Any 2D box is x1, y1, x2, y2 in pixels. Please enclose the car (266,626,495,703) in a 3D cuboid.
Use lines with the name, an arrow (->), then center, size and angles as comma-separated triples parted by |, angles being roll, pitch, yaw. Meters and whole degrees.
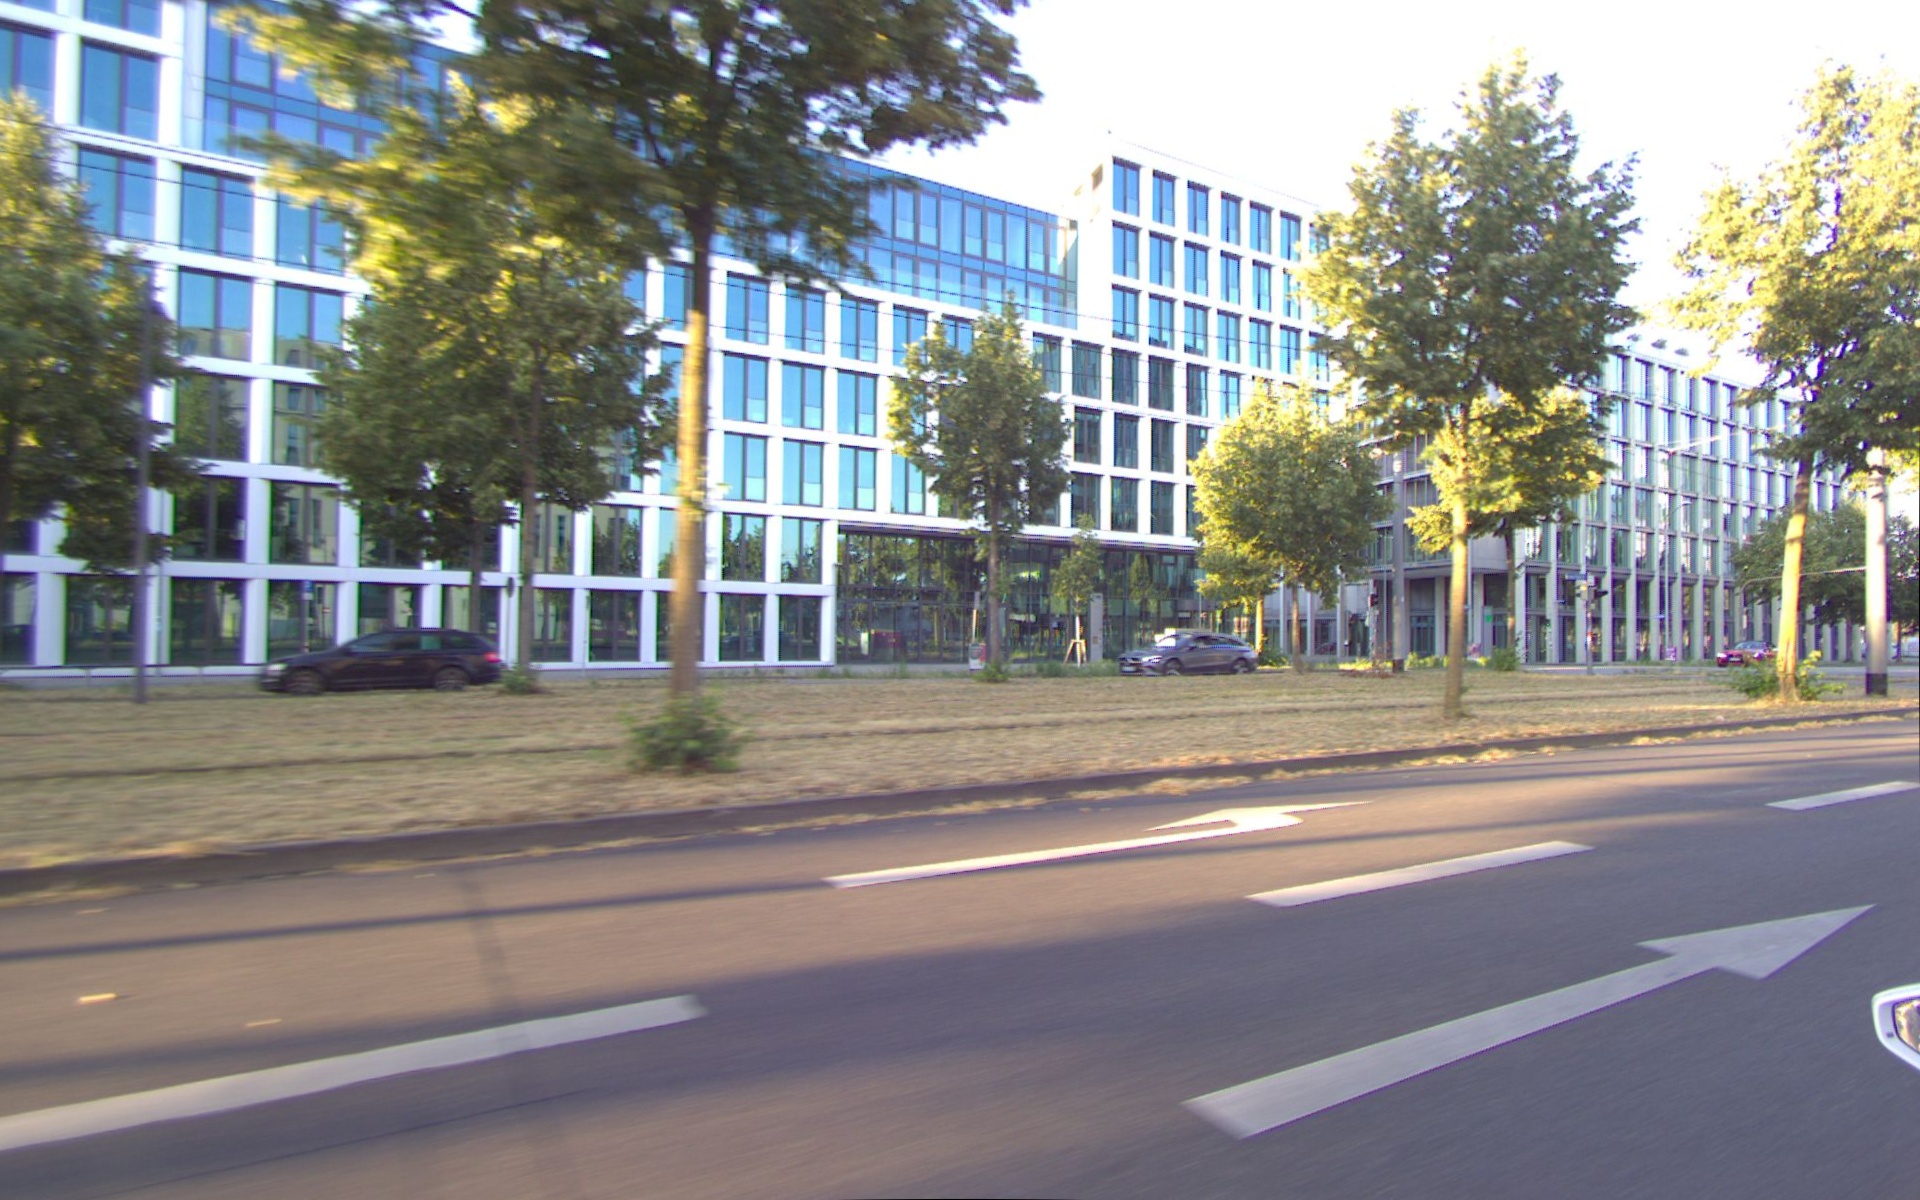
car -> -12.438, 1.349, 21.752 | 4.143, 1.521, 1.648 | 1, -2, -32

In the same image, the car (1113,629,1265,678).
car -> 6.767, 1.534, 29.521 | 4.533, 1.350, 1.648 | 1, -2, -32

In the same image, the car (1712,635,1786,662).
car -> 40.984, 2.479, 52.145 | 4.477, 1.350, 1.648 | 1, -2, -32
